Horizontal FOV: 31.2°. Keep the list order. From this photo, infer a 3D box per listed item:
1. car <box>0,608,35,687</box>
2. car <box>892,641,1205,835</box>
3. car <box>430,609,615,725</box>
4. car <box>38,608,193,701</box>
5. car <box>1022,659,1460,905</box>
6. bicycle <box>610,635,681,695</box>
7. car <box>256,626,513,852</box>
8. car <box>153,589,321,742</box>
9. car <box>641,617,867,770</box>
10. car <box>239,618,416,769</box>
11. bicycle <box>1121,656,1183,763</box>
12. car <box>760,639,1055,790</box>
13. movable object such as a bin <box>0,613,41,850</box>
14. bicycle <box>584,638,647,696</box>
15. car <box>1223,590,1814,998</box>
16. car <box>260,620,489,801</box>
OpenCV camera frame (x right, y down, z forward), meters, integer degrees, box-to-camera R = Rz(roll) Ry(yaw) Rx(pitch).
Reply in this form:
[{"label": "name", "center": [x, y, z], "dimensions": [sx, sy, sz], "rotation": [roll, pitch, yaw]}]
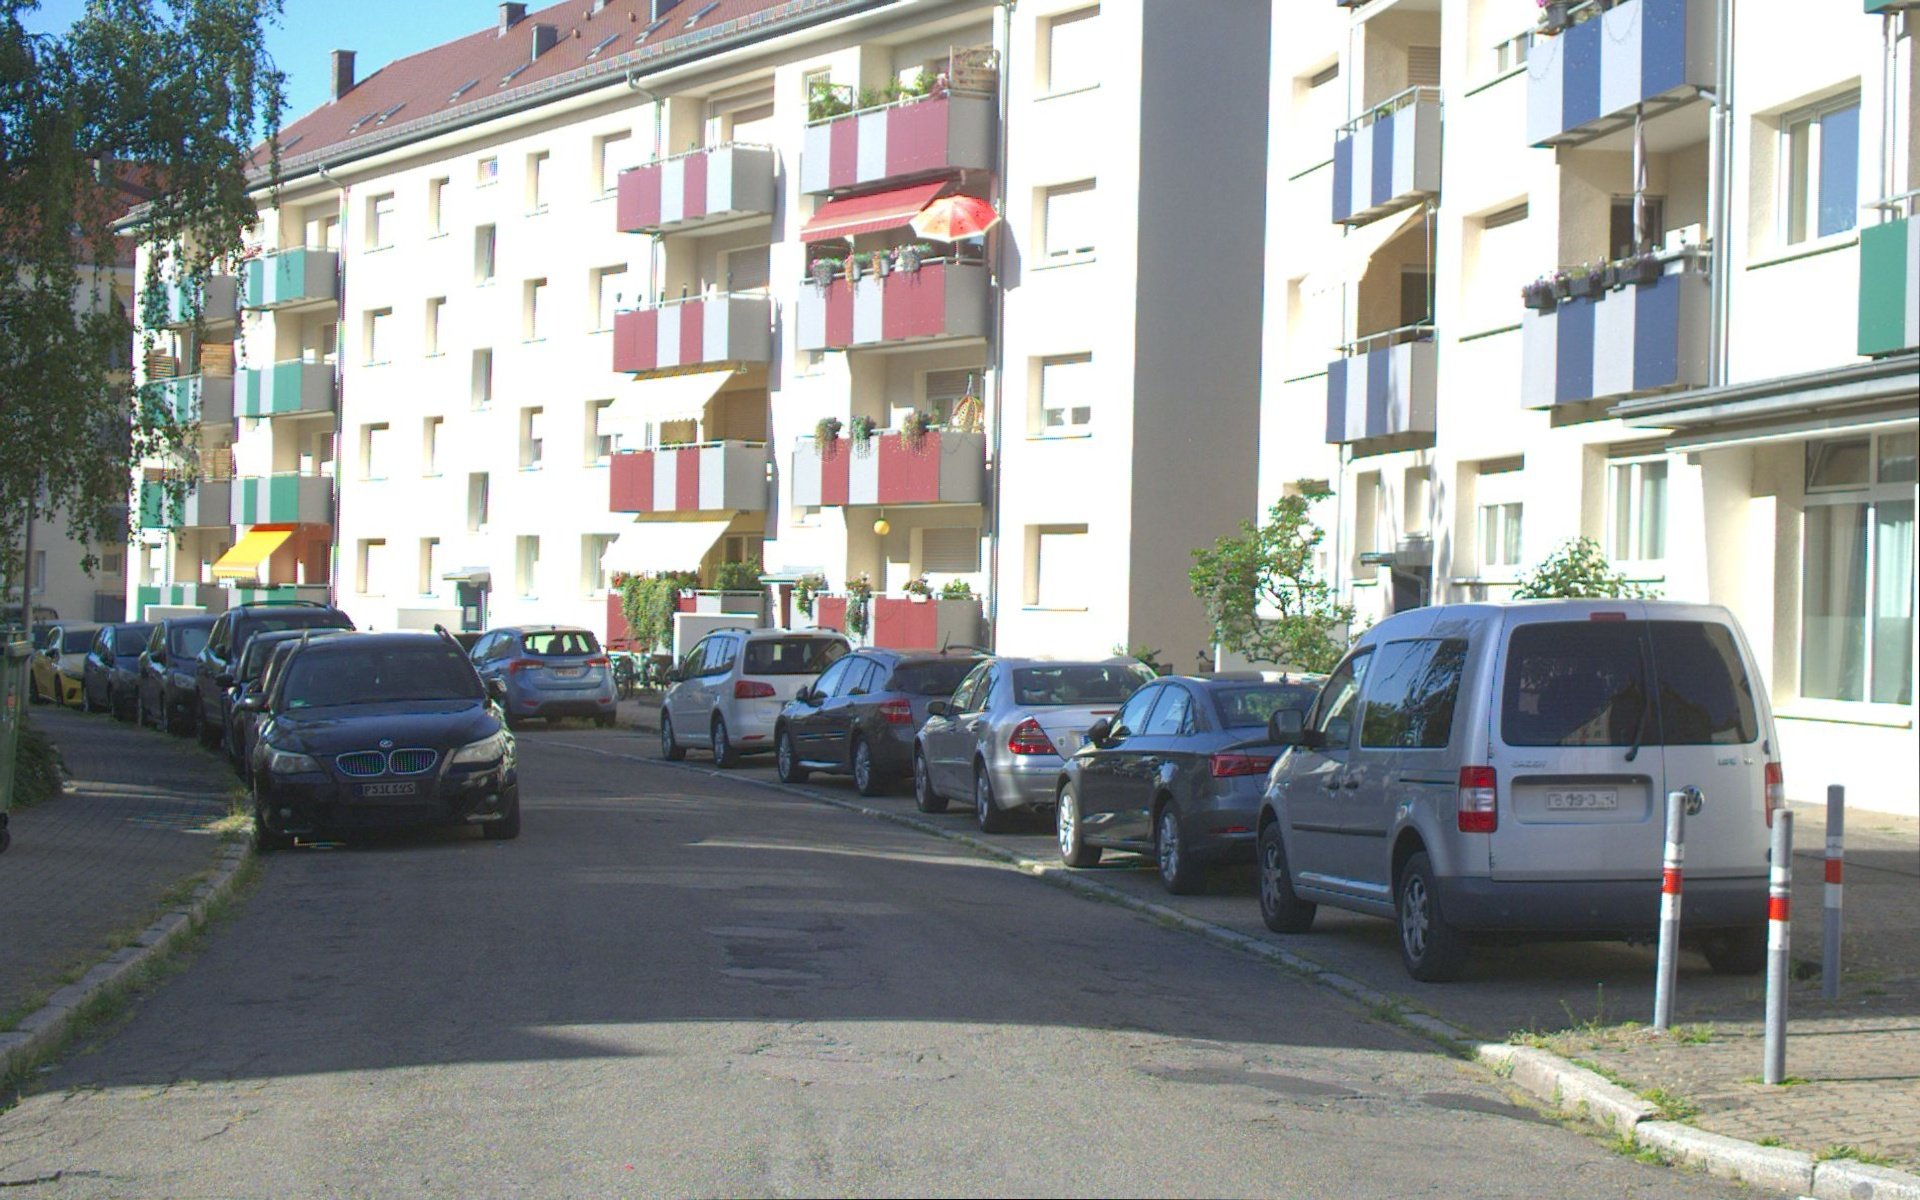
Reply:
[{"label": "car", "center": [-19.271, 0.933, 67.325], "dimensions": [1.478, 1.472, 3.632], "rotation": [-3, 1, -27]}, {"label": "car", "center": [0.664, 1.129, 29.592], "dimensions": [1.677, 1.442, 4.725], "rotation": [1, 0, -11]}, {"label": "car", "center": [-6.887, 1.010, 53.827], "dimensions": [1.765, 1.630, 4.042], "rotation": [-1, 1, -24]}, {"label": "car", "center": [-13.736, 0.867, 55.781], "dimensions": [1.693, 1.384, 4.157], "rotation": [1, 0, -24]}, {"label": "car", "center": [1.784, 1.168, 23.409], "dimensions": [1.677, 1.402, 4.547], "rotation": [1, 0, -13]}, {"label": "bicycle", "center": [-5.778, 1.186, 63.101], "dimensions": [0.617, 0.975, 1.896], "rotation": [-2, 3, -27]}, {"label": "car", "center": [-4.291, 0.955, 25.552], "dimensions": [1.677, 1.448, 4.621], "rotation": [-2, 0, -10]}, {"label": "car", "center": [-8.825, 0.760, 41.730], "dimensions": [1.555, 1.708, 4.338], "rotation": [-2, 0, -17]}, {"label": "car", "center": [-2.561, 1.089, 41.785], "dimensions": [1.693, 1.650, 4.391], "rotation": [0, 1, -18]}, {"label": "car", "center": [-6.654, 0.928, 35.909], "dimensions": [1.555, 1.437, 3.969], "rotation": [-2, 0, -14]}, {"label": "bicycle", "center": [2.269, 1.282, 40.764], "dimensions": [0.514, 1.199, 1.761], "rotation": [0, 0, -4]}, {"label": "car", "center": [-0.624, 1.120, 35.317], "dimensions": [1.693, 1.427, 4.689], "rotation": [0, 0, -18]}, {"label": "movable object such as a bin", "center": [-6.108, 0.773, 20.934], "dimensions": [0.775, 1.388, 1.417], "rotation": [1, 0, -7]}, {"label": "bicycle", "center": [-6.264, 1.210, 62.461], "dimensions": [0.497, 1.016, 1.842], "rotation": [0, 0, -27]}, {"label": "car", "center": [2.731, 0.882, 17.803], "dimensions": [1.746, 1.818, 4.132], "rotation": [-1, 0, -10]}, {"label": "car", "center": [-5.290, 0.925, 30.688], "dimensions": [1.677, 1.437, 4.281], "rotation": [-2, 0, -14]}]
